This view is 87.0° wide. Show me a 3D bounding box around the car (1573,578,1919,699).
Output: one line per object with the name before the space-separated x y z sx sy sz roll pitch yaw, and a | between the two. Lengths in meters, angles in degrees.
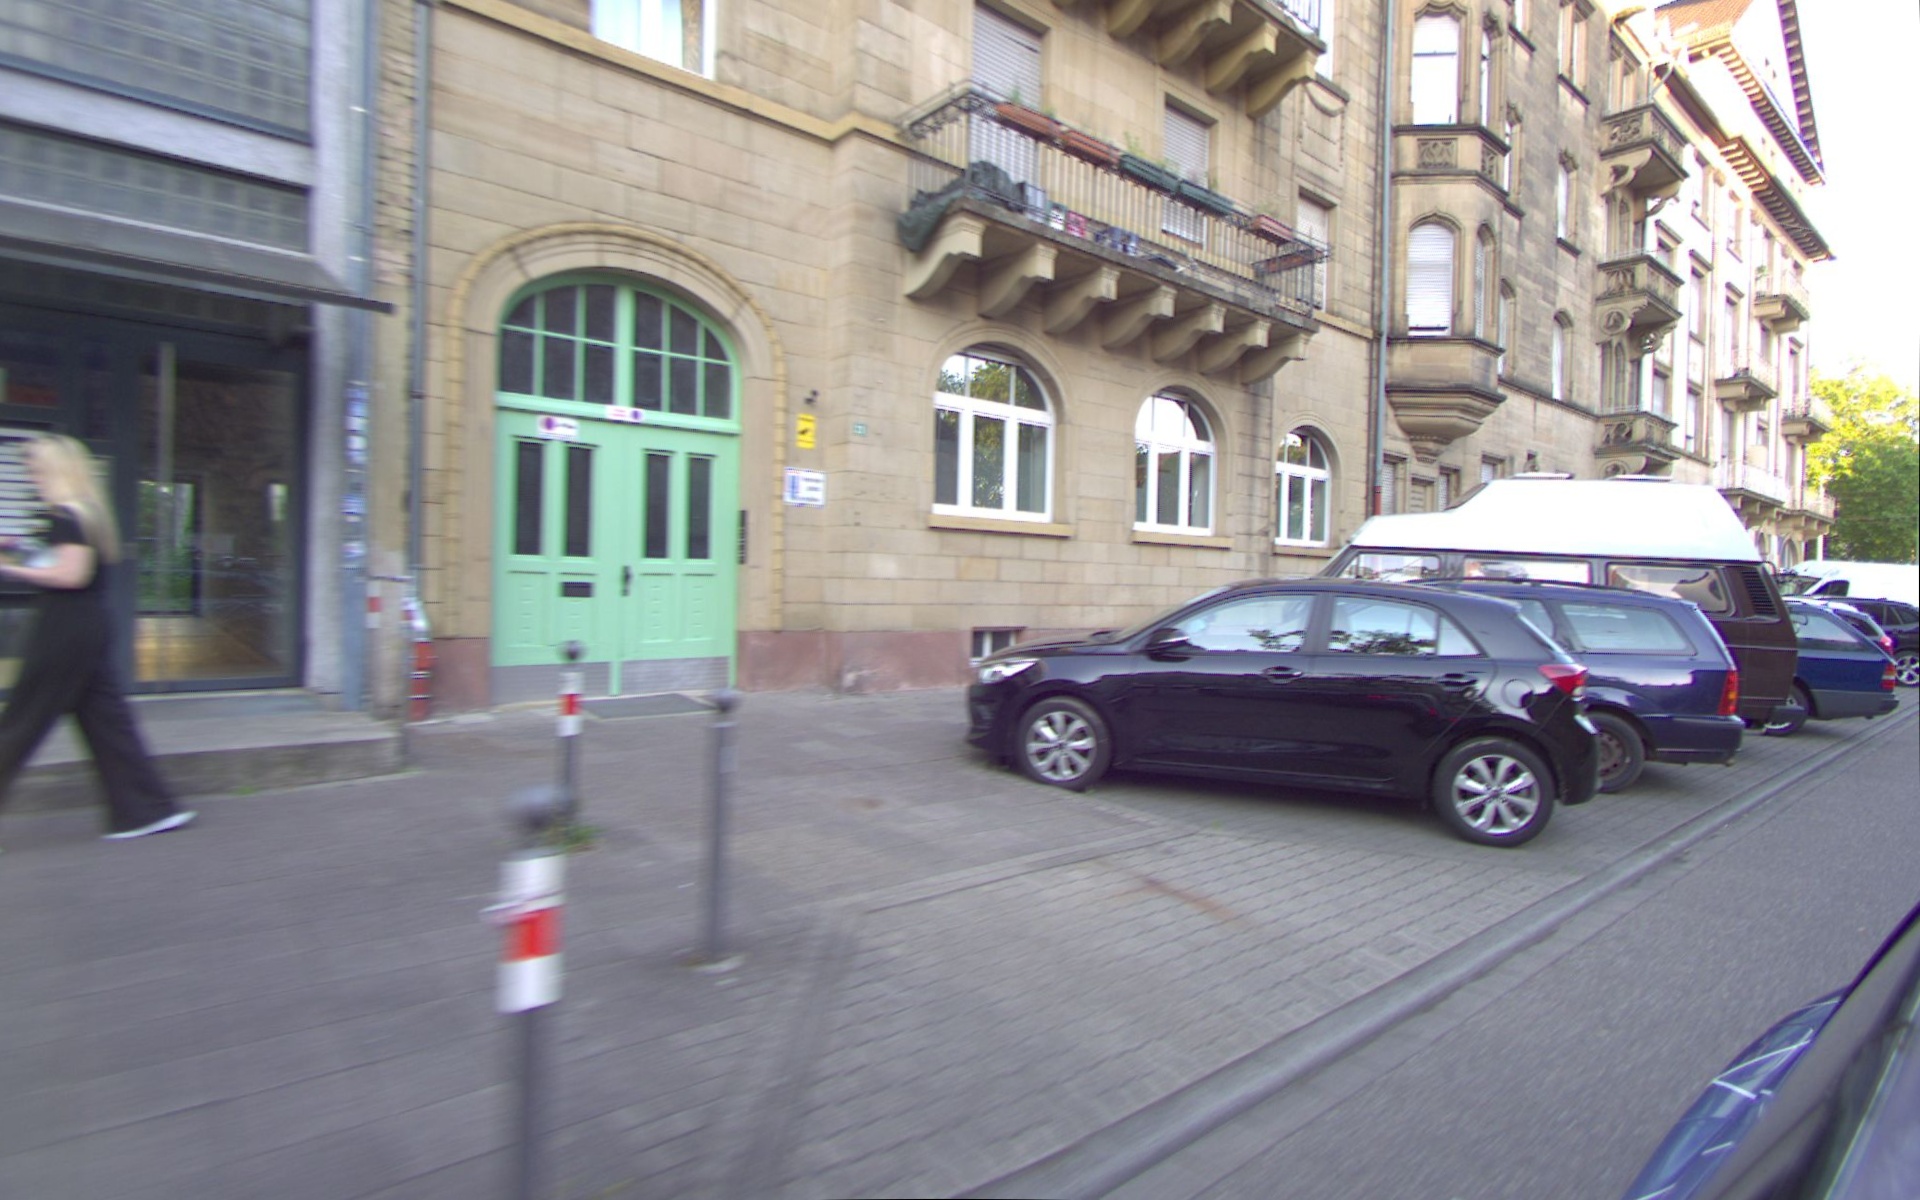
car | 12.086 0.518 15.669 3.978 1.449 1.860 4 3 16

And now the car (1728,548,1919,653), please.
car | 24.622 -0.004 27.232 5.788 2.582 2.192 2 3 9

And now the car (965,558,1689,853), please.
car | 2.205 0.520 6.829 4.017 1.510 1.713 2 1 19

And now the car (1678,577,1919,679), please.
car | 16.321 0.505 19.093 4.036 1.627 1.811 3 3 12

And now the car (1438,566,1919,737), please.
car | 8.107 0.477 11.763 4.344 1.504 1.832 4 3 20

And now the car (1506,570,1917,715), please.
car | 9.903 0.466 13.792 4.074 1.564 1.783 3 4 22

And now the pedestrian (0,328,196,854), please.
pedestrian | -3.783 -0.042 4.270 0.842 2.038 0.608 1 2 -40

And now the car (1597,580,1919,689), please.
car | 13.677 0.525 17.536 3.999 1.516 1.747 3 3 15

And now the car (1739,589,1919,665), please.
car | 20.555 0.613 23.100 3.854 1.463 1.871 3 4 10

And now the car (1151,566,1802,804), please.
car | 3.921 0.525 8.422 4.306 1.521 1.899 2 1 22

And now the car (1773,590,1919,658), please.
car | 23.055 0.613 24.931 4.188 1.471 1.994 3 2 11

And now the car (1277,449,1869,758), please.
car | 5.690 -0.044 10.178 4.668 2.578 1.905 1 1 21
